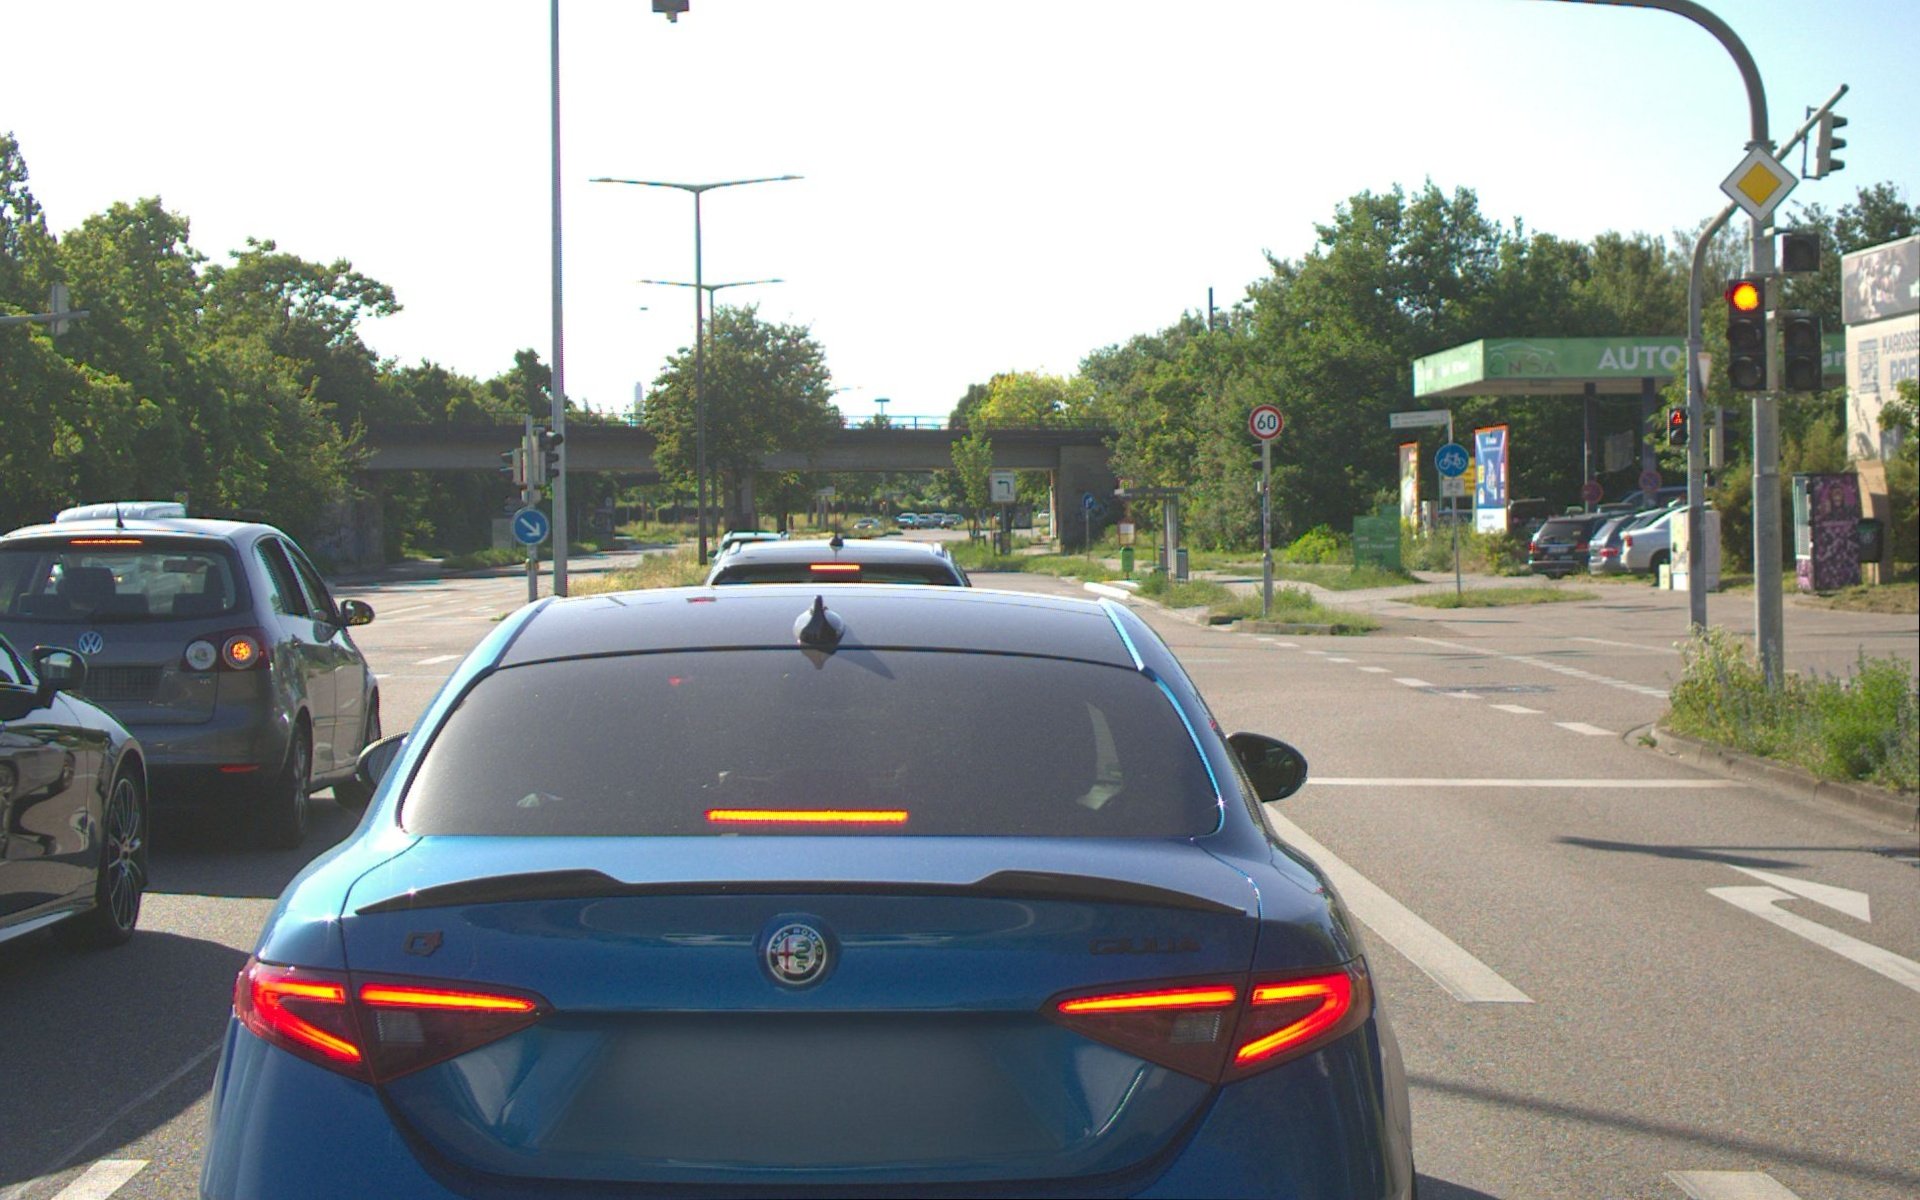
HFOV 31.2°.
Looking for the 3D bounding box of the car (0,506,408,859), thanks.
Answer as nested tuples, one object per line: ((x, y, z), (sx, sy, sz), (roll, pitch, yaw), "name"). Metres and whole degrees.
((-3.943, 0.331, 17.537), (1.648, 1.593, 3.932), (0, 1, -1), "car")

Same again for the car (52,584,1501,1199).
((-0.260, 0.696, 6.407), (1.866, 1.380, 3.932), (0, 1, -1), "car")

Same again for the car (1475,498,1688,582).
((12.825, -1.243, 70.960), (3.986, 1.700, 1.696), (-1, 1, -19), "car")

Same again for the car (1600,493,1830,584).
((14.516, -1.190, 66.104), (3.986, 1.700, 1.696), (-1, 1, -16), "car")

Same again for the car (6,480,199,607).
((-17.081, -1.157, 68.810), (2.431, 2.418, 5.831), (0, 1, -1), "car")

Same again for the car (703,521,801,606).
((-4.001, -0.733, 66.574), (1.818, 1.589, 4.051), (0, 1, -3), "car")

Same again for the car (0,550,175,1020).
((-3.805, 0.571, 10.639), (1.768, 1.409, 4.461), (0, 1, -1), "car")

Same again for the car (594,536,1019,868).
((-0.698, 0.412, 17.077), (1.866, 1.445, 3.932), (0, 1, -1), "car")

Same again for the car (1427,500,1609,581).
((12.025, -1.280, 74.151), (3.483, 1.700, 1.696), (-1, 1, -16), "car")
